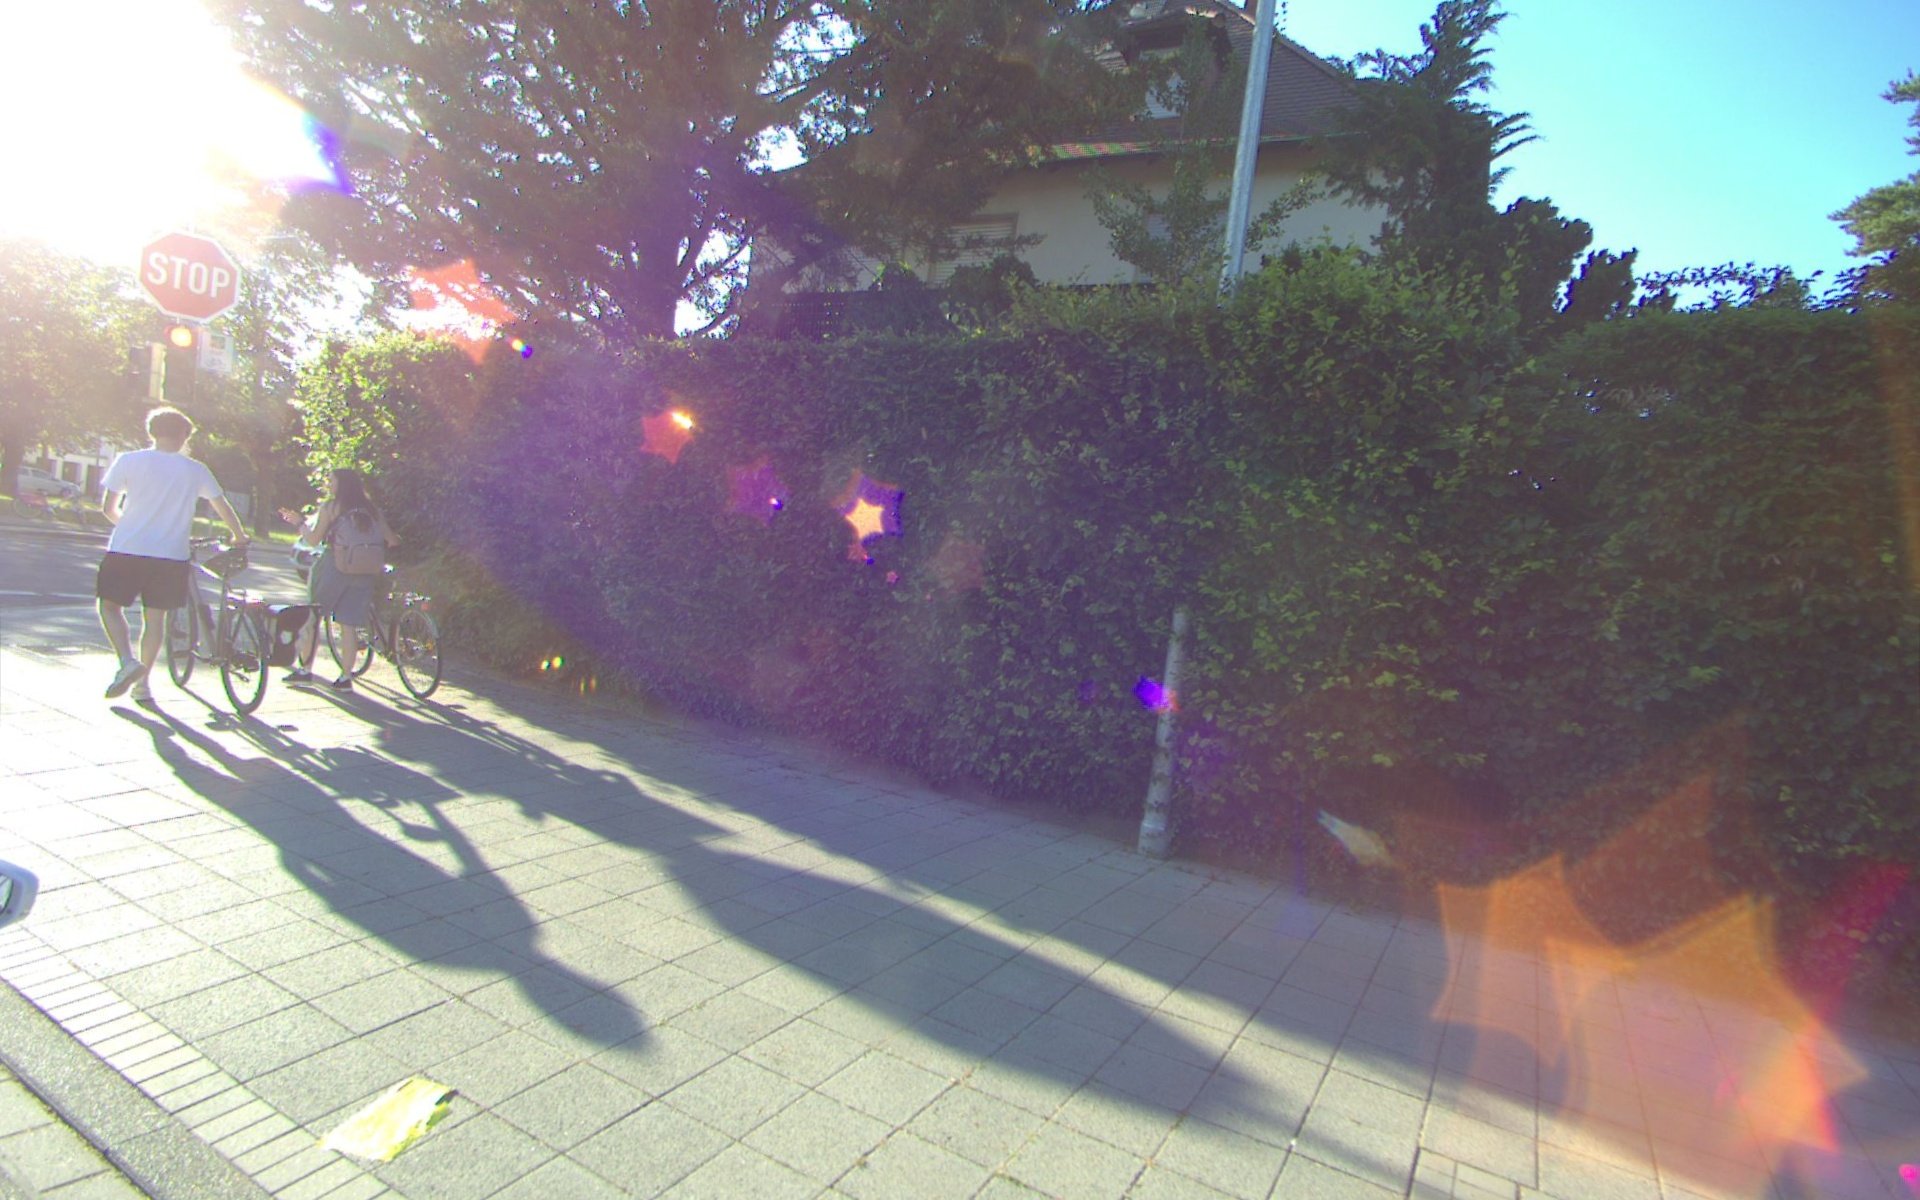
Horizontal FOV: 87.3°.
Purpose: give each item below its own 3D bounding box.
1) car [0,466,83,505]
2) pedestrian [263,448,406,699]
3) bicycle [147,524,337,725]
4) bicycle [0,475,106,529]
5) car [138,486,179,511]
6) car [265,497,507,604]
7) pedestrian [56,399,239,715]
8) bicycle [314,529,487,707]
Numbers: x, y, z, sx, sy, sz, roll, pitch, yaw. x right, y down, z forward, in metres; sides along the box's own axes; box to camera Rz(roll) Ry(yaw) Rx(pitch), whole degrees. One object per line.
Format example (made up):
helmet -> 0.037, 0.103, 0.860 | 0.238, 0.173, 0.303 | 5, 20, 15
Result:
car -> -47.599, -5.923, 51.405 | 1.569, 1.445, 3.854 | 8, 0, 26
pedestrian -> -4.632, -0.199, 7.450 | 0.613, 1.733, 0.667 | 9, 6, 37
bicycle -> -4.953, 0.123, 6.892 | 1.762, 1.112, 0.486 | 8, 5, 36
bicycle -> -24.449, -2.617, 27.153 | 0.609, 1.146, 1.955 | 8, 1, 32
car -> -56.270, -7.103, 70.687 | 1.651, 1.435, 3.514 | 7, 1, -30
car -> -10.880, -0.870, 19.356 | 1.709, 1.506, 3.698 | 8, 0, 20
pedestrian -> -5.277, -0.292, 6.531 | 0.867, 1.892, 0.669 | 9, 5, 34
bicycle -> -4.356, 0.106, 7.788 | 1.573, 1.158, 0.486 | 8, 4, 35
